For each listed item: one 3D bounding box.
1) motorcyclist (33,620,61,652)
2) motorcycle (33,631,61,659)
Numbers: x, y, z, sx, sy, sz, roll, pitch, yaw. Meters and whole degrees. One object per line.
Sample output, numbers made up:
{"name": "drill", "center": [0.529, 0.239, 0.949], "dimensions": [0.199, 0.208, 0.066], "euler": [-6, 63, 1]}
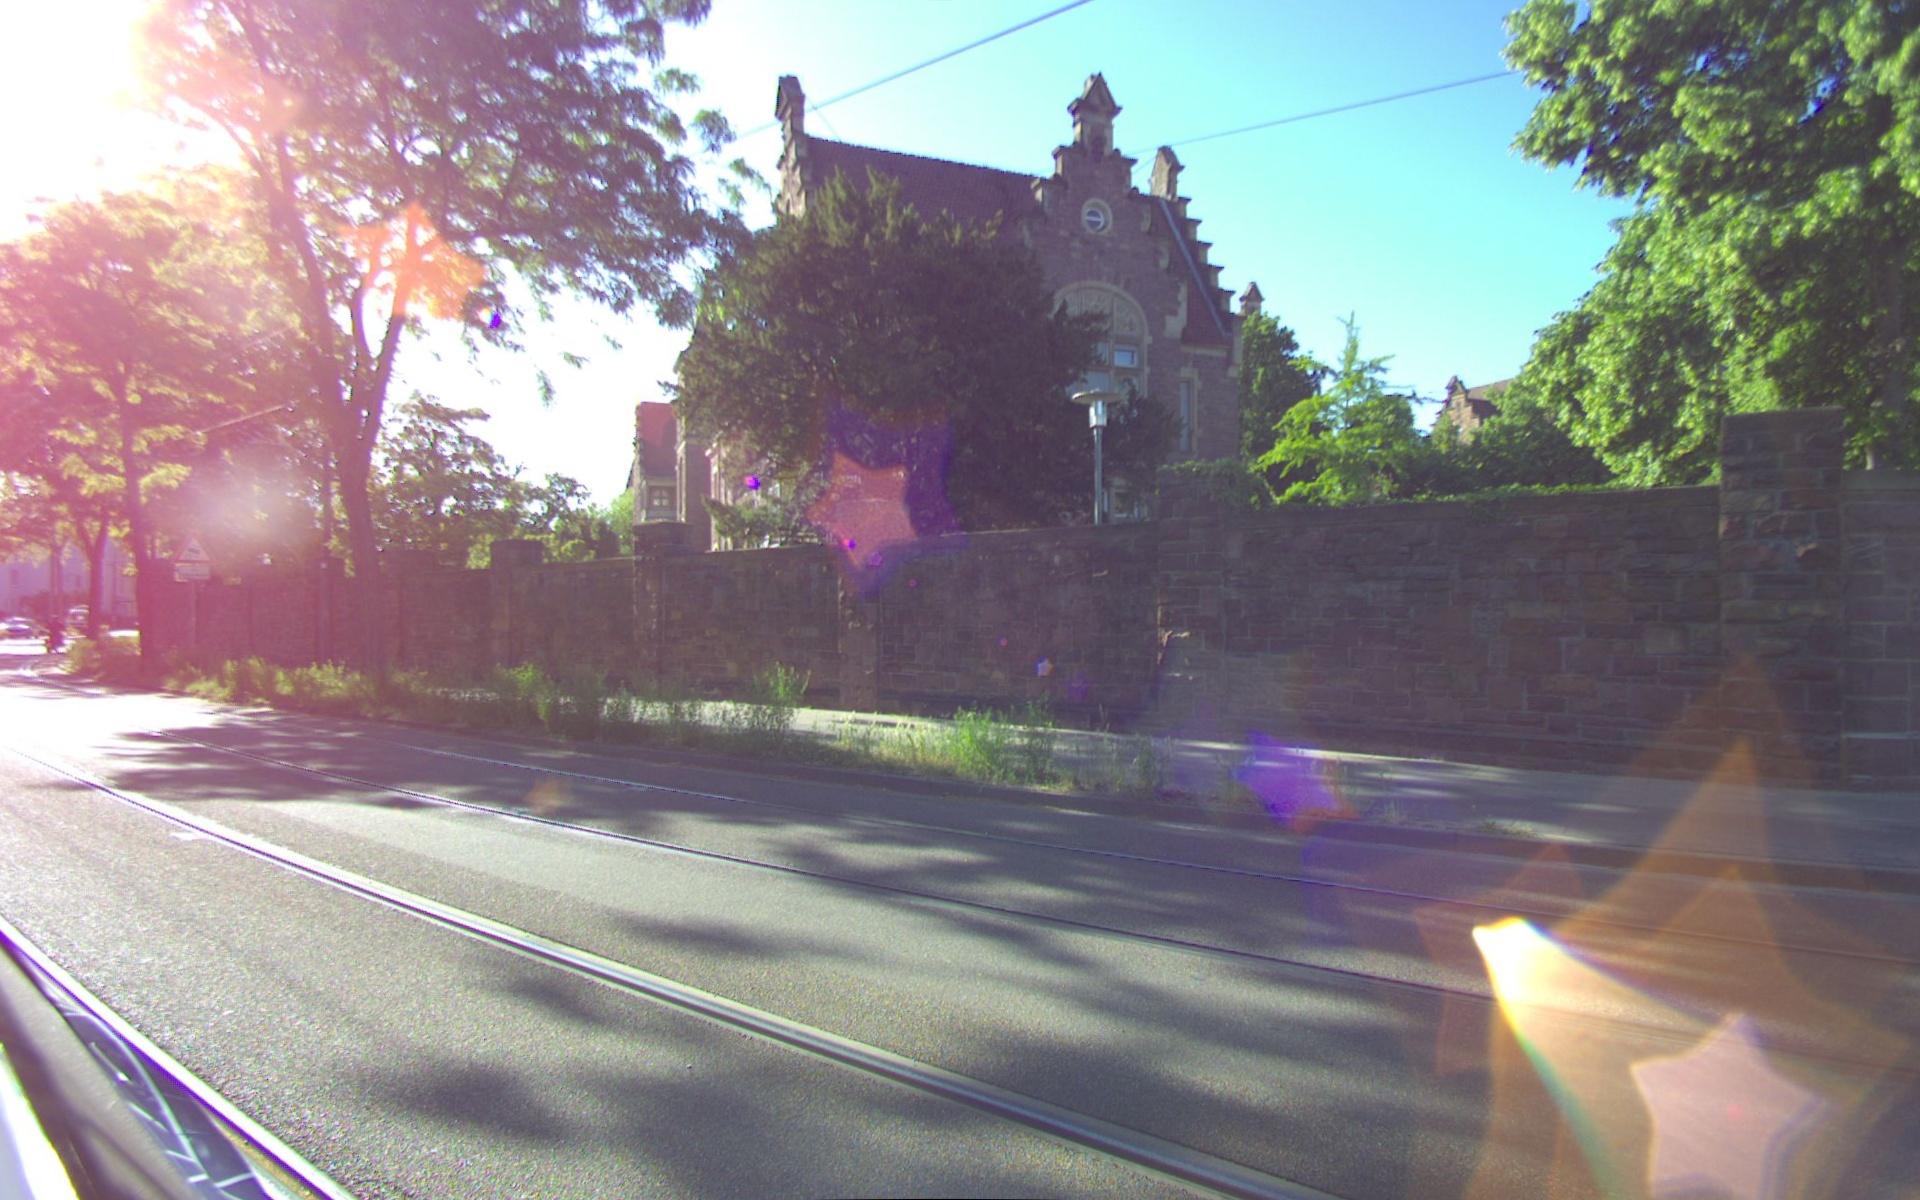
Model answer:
{"name": "motorcyclist", "center": [-40.643, 1.584, 45.059], "dimensions": [0.878, 1.393, 0.909], "euler": [0, -1, -42]}
{"name": "motorcycle", "center": [-40.630, 1.980, 45.042], "dimensions": [0.900, 1.162, 2.432], "euler": [0, -1, -42]}
